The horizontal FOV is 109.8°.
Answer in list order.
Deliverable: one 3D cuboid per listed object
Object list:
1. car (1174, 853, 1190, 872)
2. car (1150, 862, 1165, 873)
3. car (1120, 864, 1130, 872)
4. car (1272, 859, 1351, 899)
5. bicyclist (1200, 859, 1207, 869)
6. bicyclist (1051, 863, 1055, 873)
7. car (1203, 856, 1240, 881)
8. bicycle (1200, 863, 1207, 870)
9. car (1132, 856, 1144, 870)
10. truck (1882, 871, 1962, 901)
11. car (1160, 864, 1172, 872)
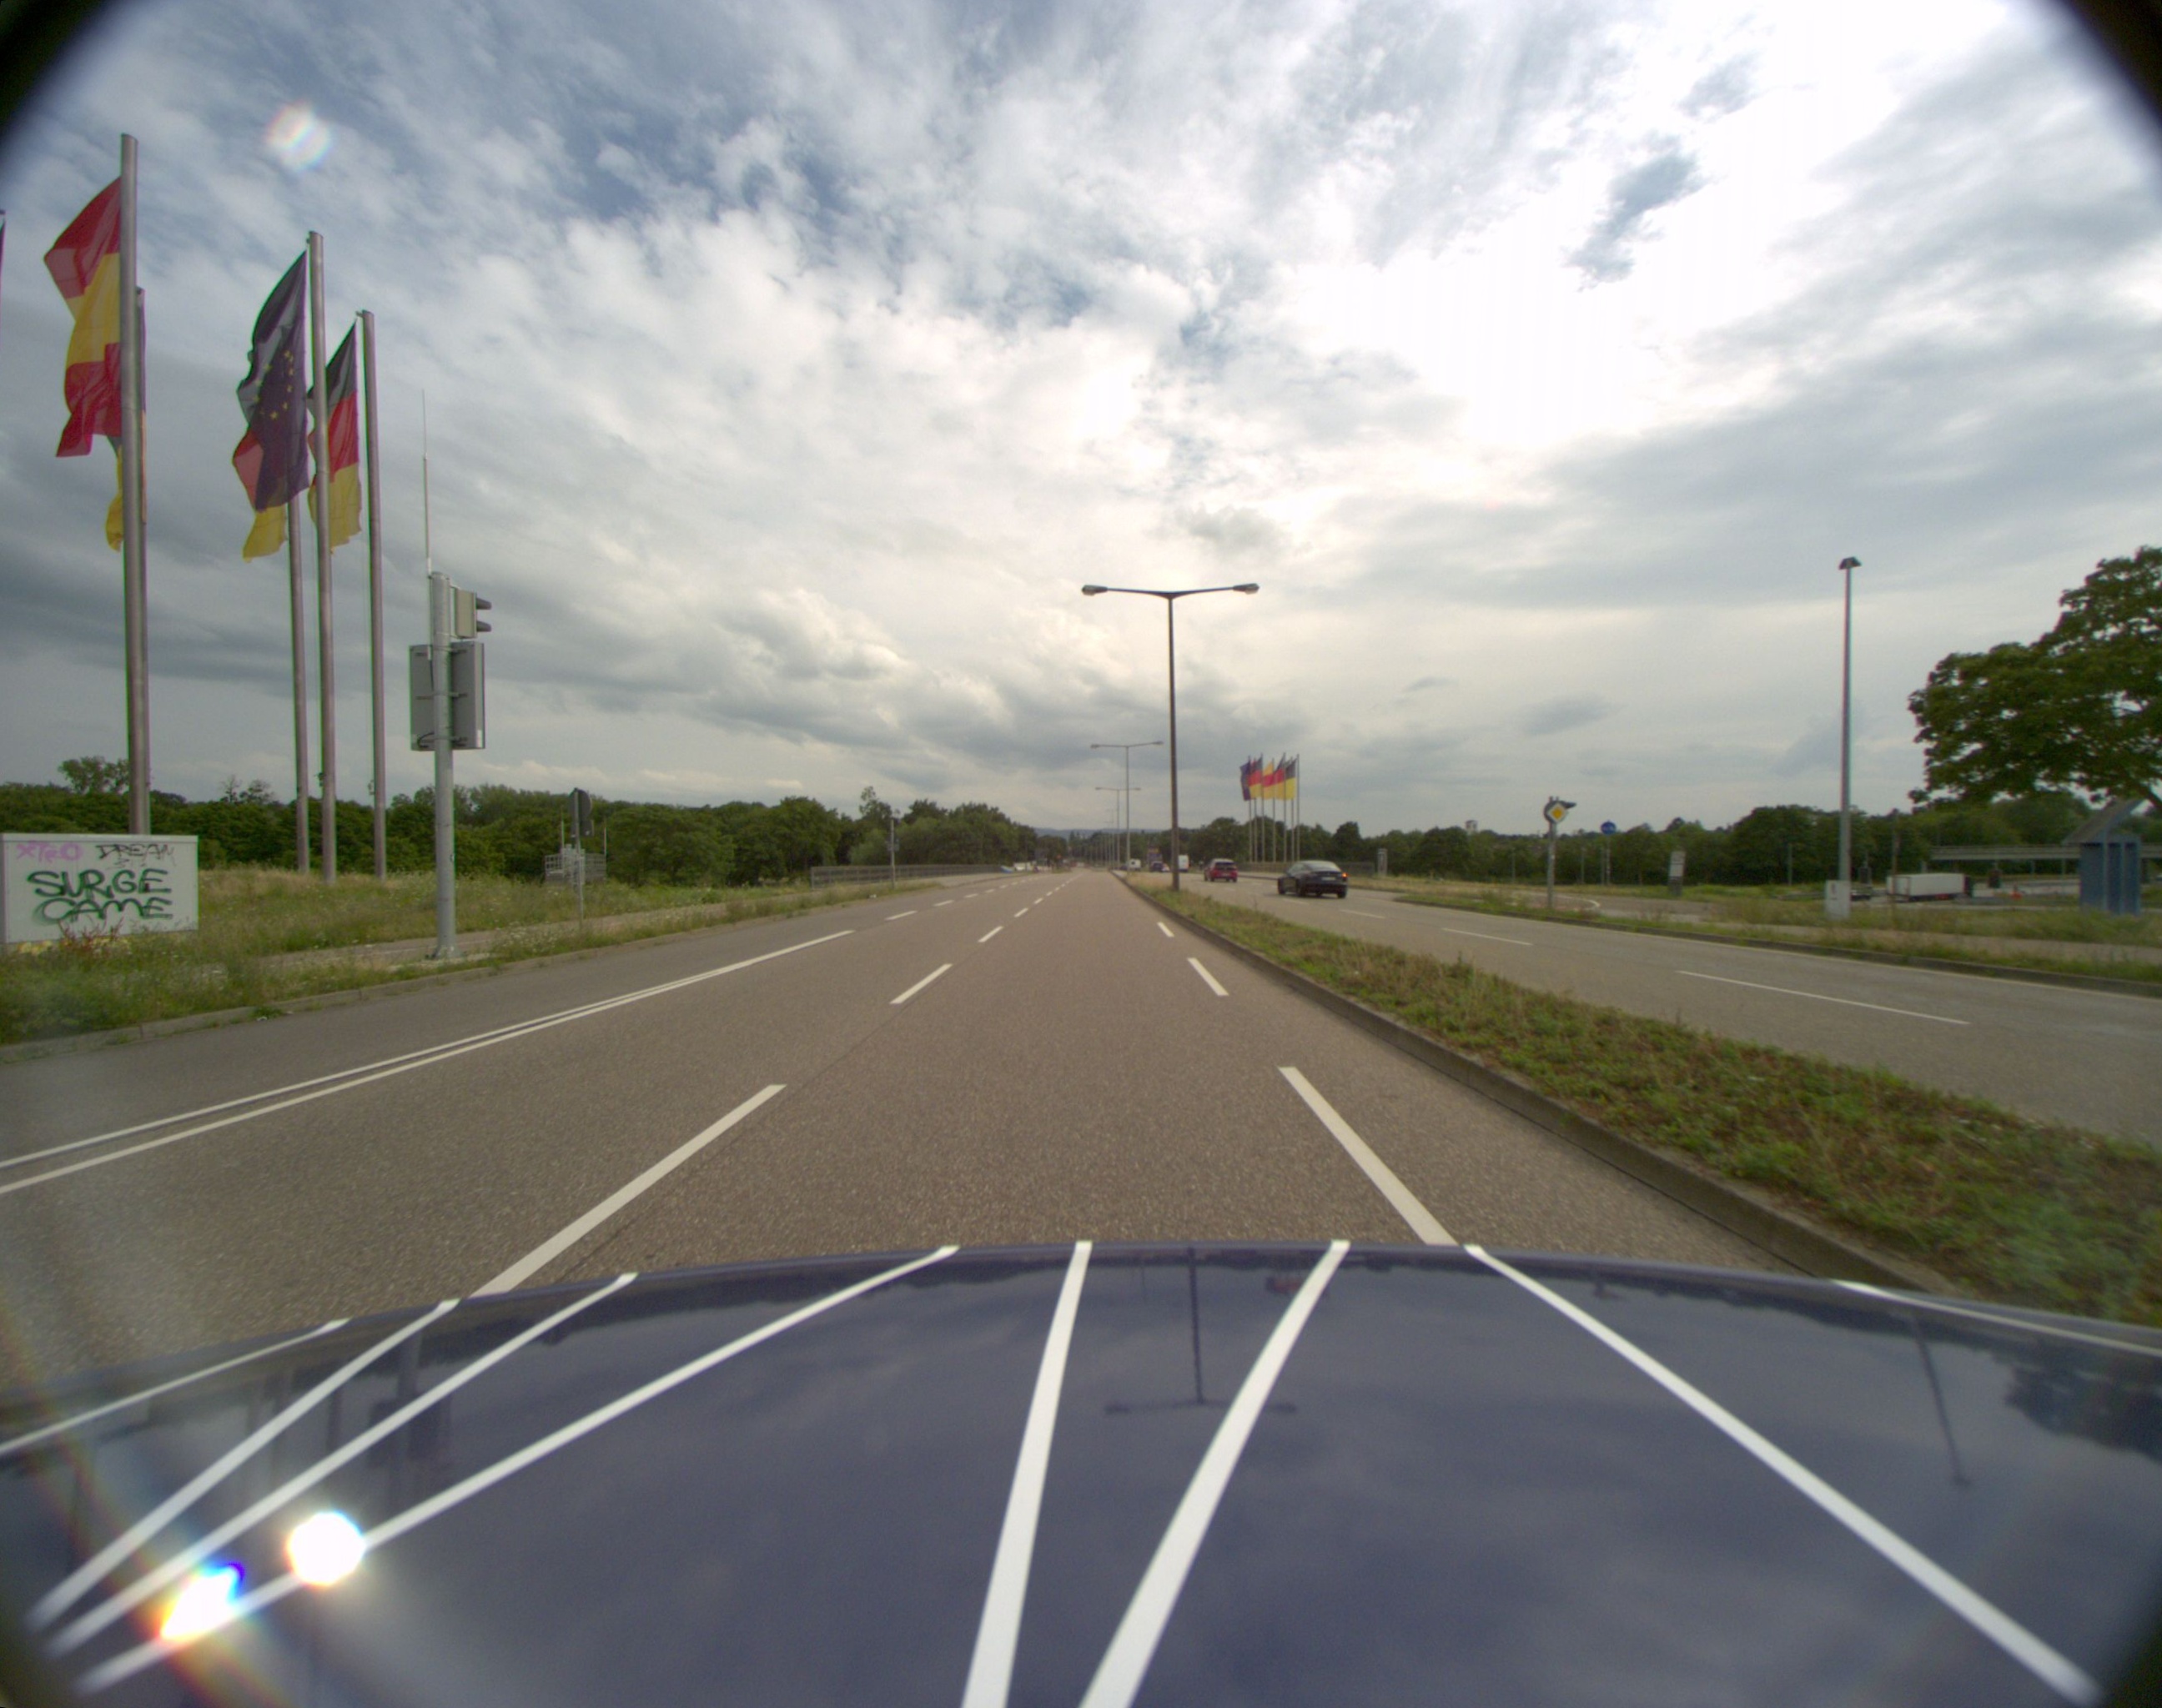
[{"bbox_3d":[14.706,1.235,110.644,2.057,2.627,6.403,1,-1,5],"label":"car"},{"bbox_3d":[10.860,1.894,108.077,1.751,1.576,4.587,1,-1,2],"label":"car"},{"bbox_3d":[8.803,2.793,152.672,1.742,1.472,4.777,1,-1,1],"label":"car"},{"bbox_3d":[9.161,0.951,30.576,1.750,1.467,4.564,0,0,-1],"label":"car"},{"bbox_3d":[19.334,1.554,120.088,0.797,1.617,0.976,-2,0,-1],"label":"bicyclist"},{"bbox_3d":[-4.629,2.260,125.940,0.653,1.648,0.876,-2,0,-2],"label":"bicyclist"},{"bbox_3d":[9.663,0.976,52.504,1.655,1.565,4.338,2,0,-1],"label":"car"},{"bbox_3d":[19.346,1.938,120.038,0.708,1.043,2.060,-1,0,-1],"label":"bicycle"},{"bbox_3d":[8.087,1.301,107.390,1.543,1.860,3.571,1,-1,2],"label":"car"},{"bbox_3d":[130.087,4.893,117.454,14.018,4.318,3.025,0,0,-19],"label":"truck"},{"bbox_3d":[16.079,2.688,144.172,1.742,1.472,4.472,1,0,1],"label":"car"}]
